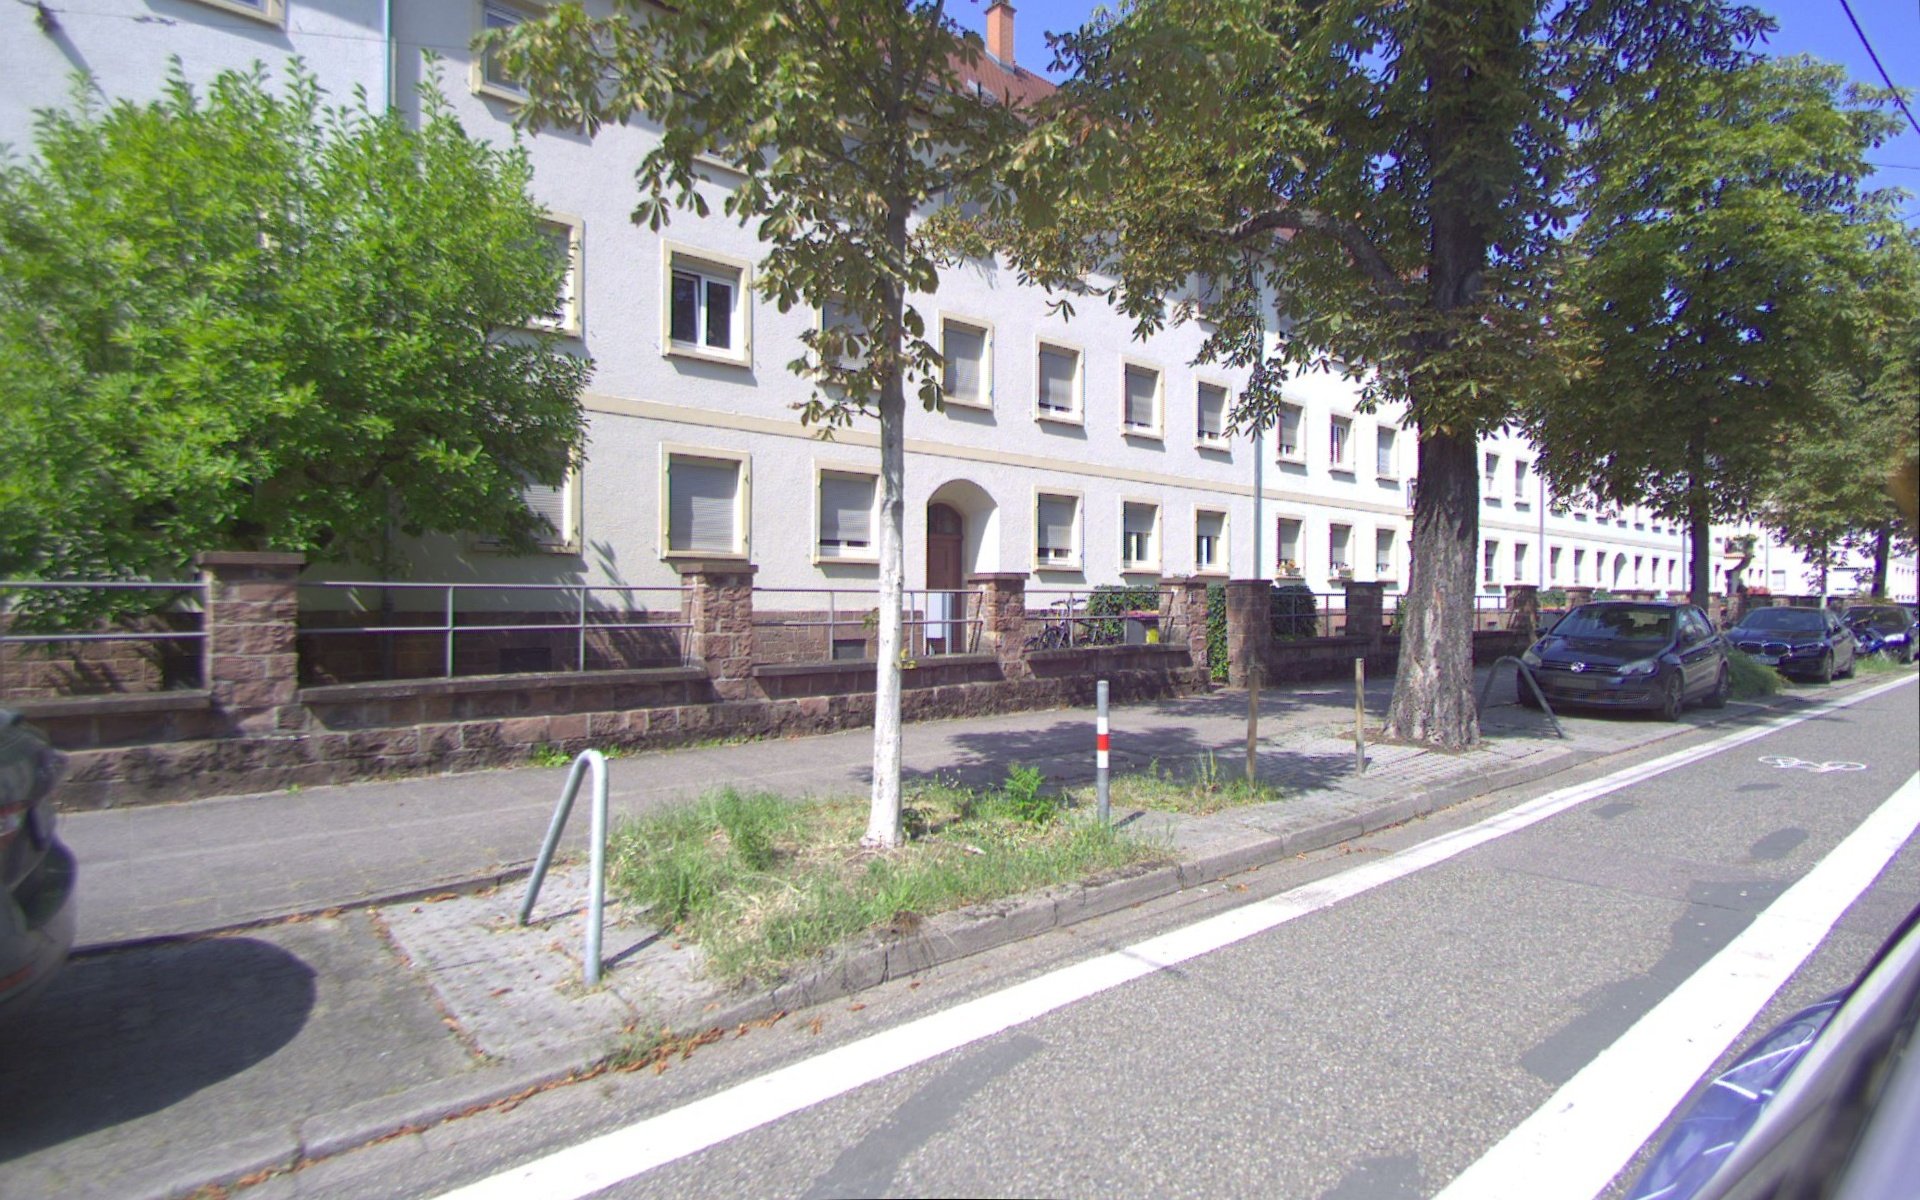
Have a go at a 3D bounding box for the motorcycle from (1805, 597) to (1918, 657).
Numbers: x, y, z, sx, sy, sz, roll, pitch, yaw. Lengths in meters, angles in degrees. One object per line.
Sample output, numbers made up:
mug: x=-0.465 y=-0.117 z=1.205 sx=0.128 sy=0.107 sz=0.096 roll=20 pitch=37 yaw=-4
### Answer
motorcycle: x=22.093 y=0.633 z=24.835 sx=0.769 sy=1.385 sz=2.006 roll=0 pitch=0 yaw=-43

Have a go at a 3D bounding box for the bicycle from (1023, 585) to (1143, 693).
bicycle: x=1.668 y=0.484 z=13.511 sx=1.858 sy=1.350 sz=0.456 roll=0 pitch=0 yaw=-41

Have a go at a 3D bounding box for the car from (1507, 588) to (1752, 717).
car: x=9.252 y=0.602 z=13.843 sx=4.310 sy=1.496 sz=1.758 roll=0 pitch=0 yaw=-42

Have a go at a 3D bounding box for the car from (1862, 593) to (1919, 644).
car: x=30.863 y=0.558 z=32.795 sx=3.432 sy=1.549 sz=1.623 roll=0 pitch=1 yaw=-34

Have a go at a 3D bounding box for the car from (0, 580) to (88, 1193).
car: x=-4.629 y=0.699 z=1.716 sx=4.756 sy=1.496 sz=1.895 roll=0 pitch=1 yaw=-41

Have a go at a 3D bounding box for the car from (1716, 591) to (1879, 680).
car: x=17.044 y=0.635 z=20.529 sx=4.379 sy=1.495 sz=1.760 roll=-1 pitch=4 yaw=-41

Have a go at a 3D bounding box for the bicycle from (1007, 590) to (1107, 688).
bicycle: x=1.346 y=0.501 z=13.837 sx=1.552 sy=1.273 sz=0.402 roll=0 pitch=0 yaw=-41

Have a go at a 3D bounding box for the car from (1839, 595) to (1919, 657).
car: x=25.192 y=0.646 z=27.331 sx=3.968 sy=1.495 sz=1.620 roll=0 pitch=2 yaw=-41
